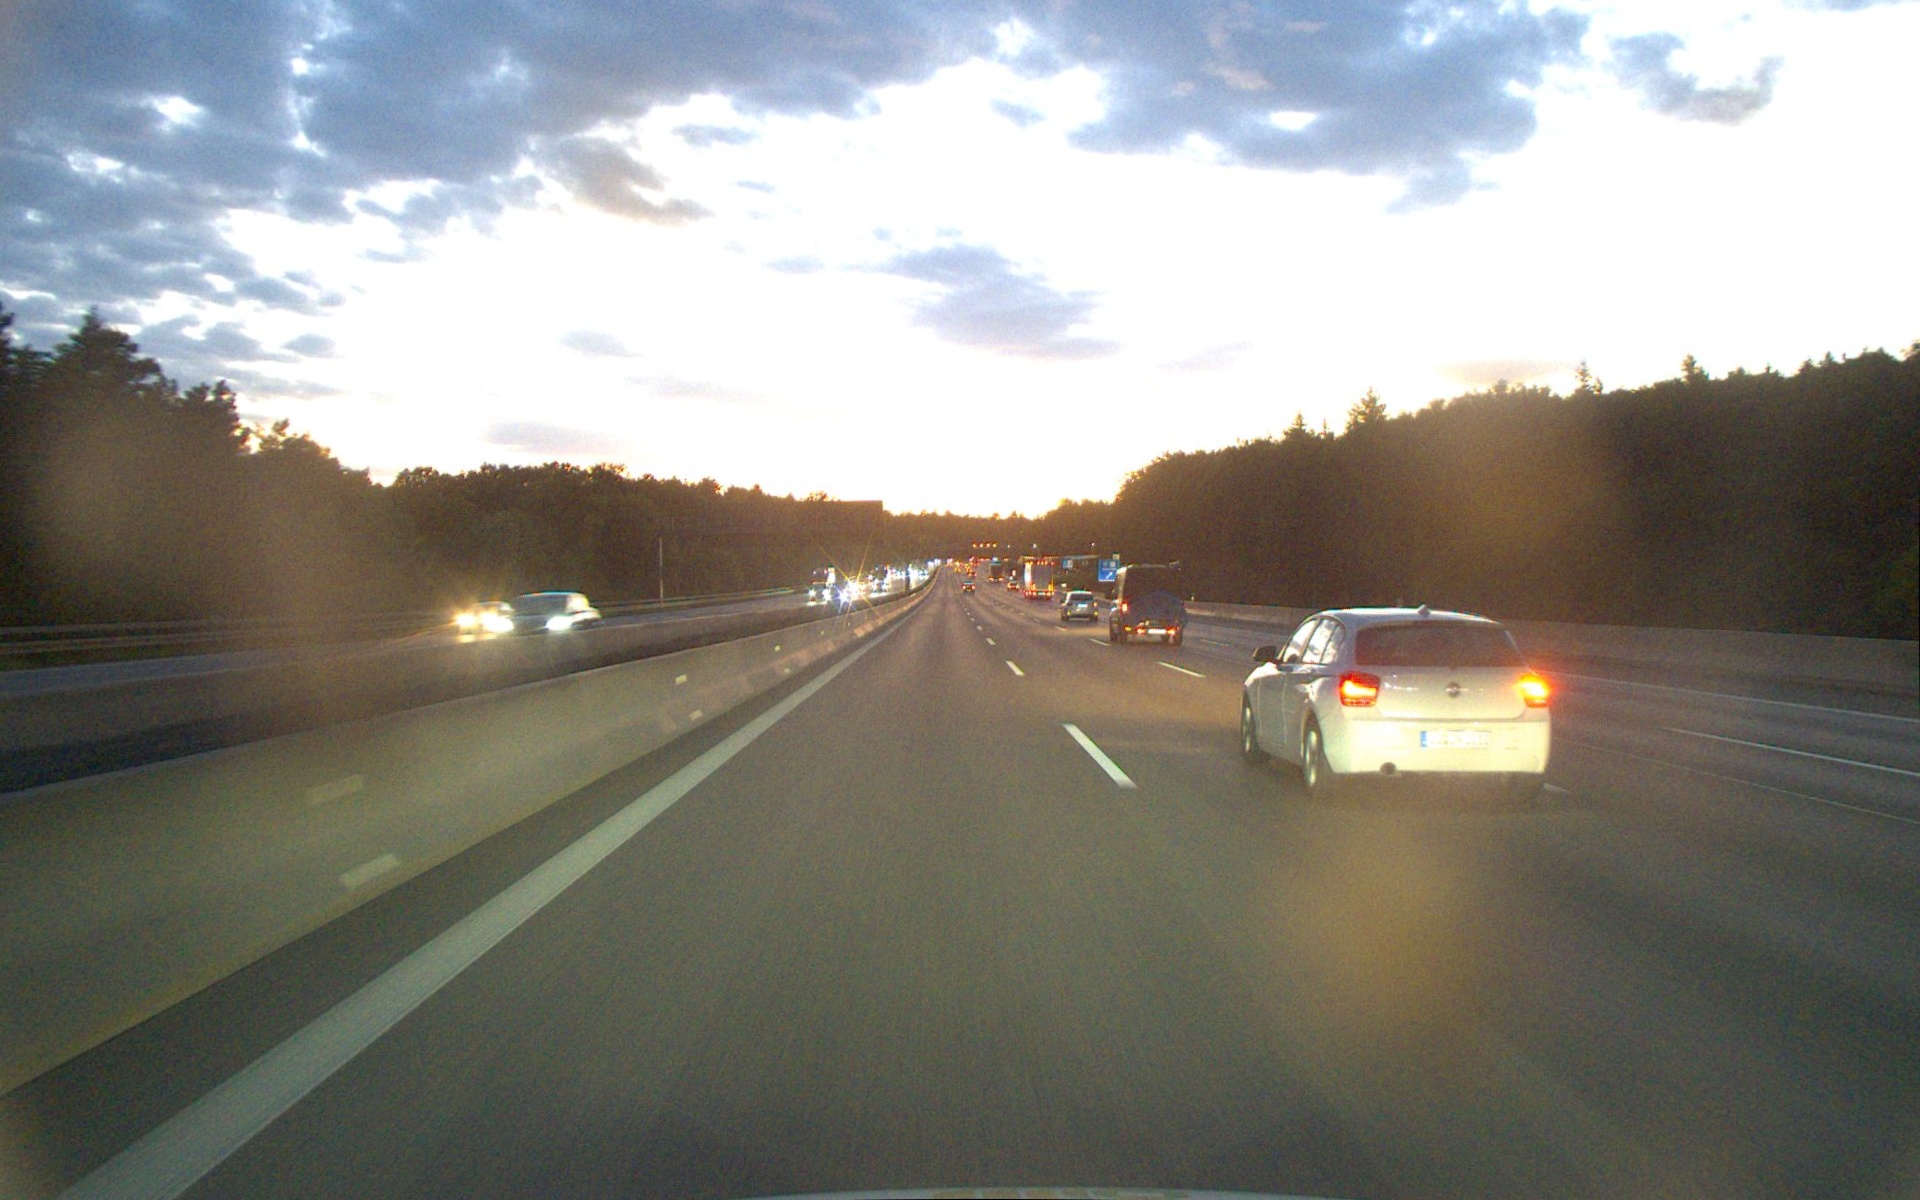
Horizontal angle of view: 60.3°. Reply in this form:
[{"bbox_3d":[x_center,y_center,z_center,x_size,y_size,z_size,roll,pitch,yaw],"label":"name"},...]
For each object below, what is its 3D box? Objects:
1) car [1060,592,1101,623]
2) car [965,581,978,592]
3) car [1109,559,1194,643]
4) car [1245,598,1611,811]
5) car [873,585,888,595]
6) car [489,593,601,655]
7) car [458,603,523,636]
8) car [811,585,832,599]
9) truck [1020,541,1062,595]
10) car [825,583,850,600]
[{"bbox_3d":[6.335,0.389,87.131,1.966,1.565,4.001,0,0,1],"label":"car"},{"bbox_3d":[1.680,-1.895,234.251,1.798,1.598,4.001,0,0,1],"label":"car"},{"bbox_3d":[5.892,0.016,51.513,2.121,2.461,5.565,0,0,1],"label":"car"},{"bbox_3d":[3.591,0.745,13.403,1.822,1.467,3.719,1,-1,-2],"label":"car"},{"bbox_3d":[-11.819,-1.478,246.136,1.798,1.463,4.001,0,0,1],"label":"car"},{"bbox_3d":[-10.246,0.567,41.093,1.799,1.463,4.000,0,0,0],"label":"car"},{"bbox_3d":[-21.889,0.903,77.191,1.798,1.463,4.001,0,0,1],"label":"car"},{"bbox_3d":[-15.134,-0.888,180.581,1.798,1.463,4.001,0,0,1],"label":"car"},{"bbox_3d":[9.349,-3.611,192.572,4.064,5.958,14.295,0,0,0],"label":"truck"},{"bbox_3d":[-10.822,-0.718,145.958,1.798,1.463,4.001,0,0,1],"label":"car"}]
